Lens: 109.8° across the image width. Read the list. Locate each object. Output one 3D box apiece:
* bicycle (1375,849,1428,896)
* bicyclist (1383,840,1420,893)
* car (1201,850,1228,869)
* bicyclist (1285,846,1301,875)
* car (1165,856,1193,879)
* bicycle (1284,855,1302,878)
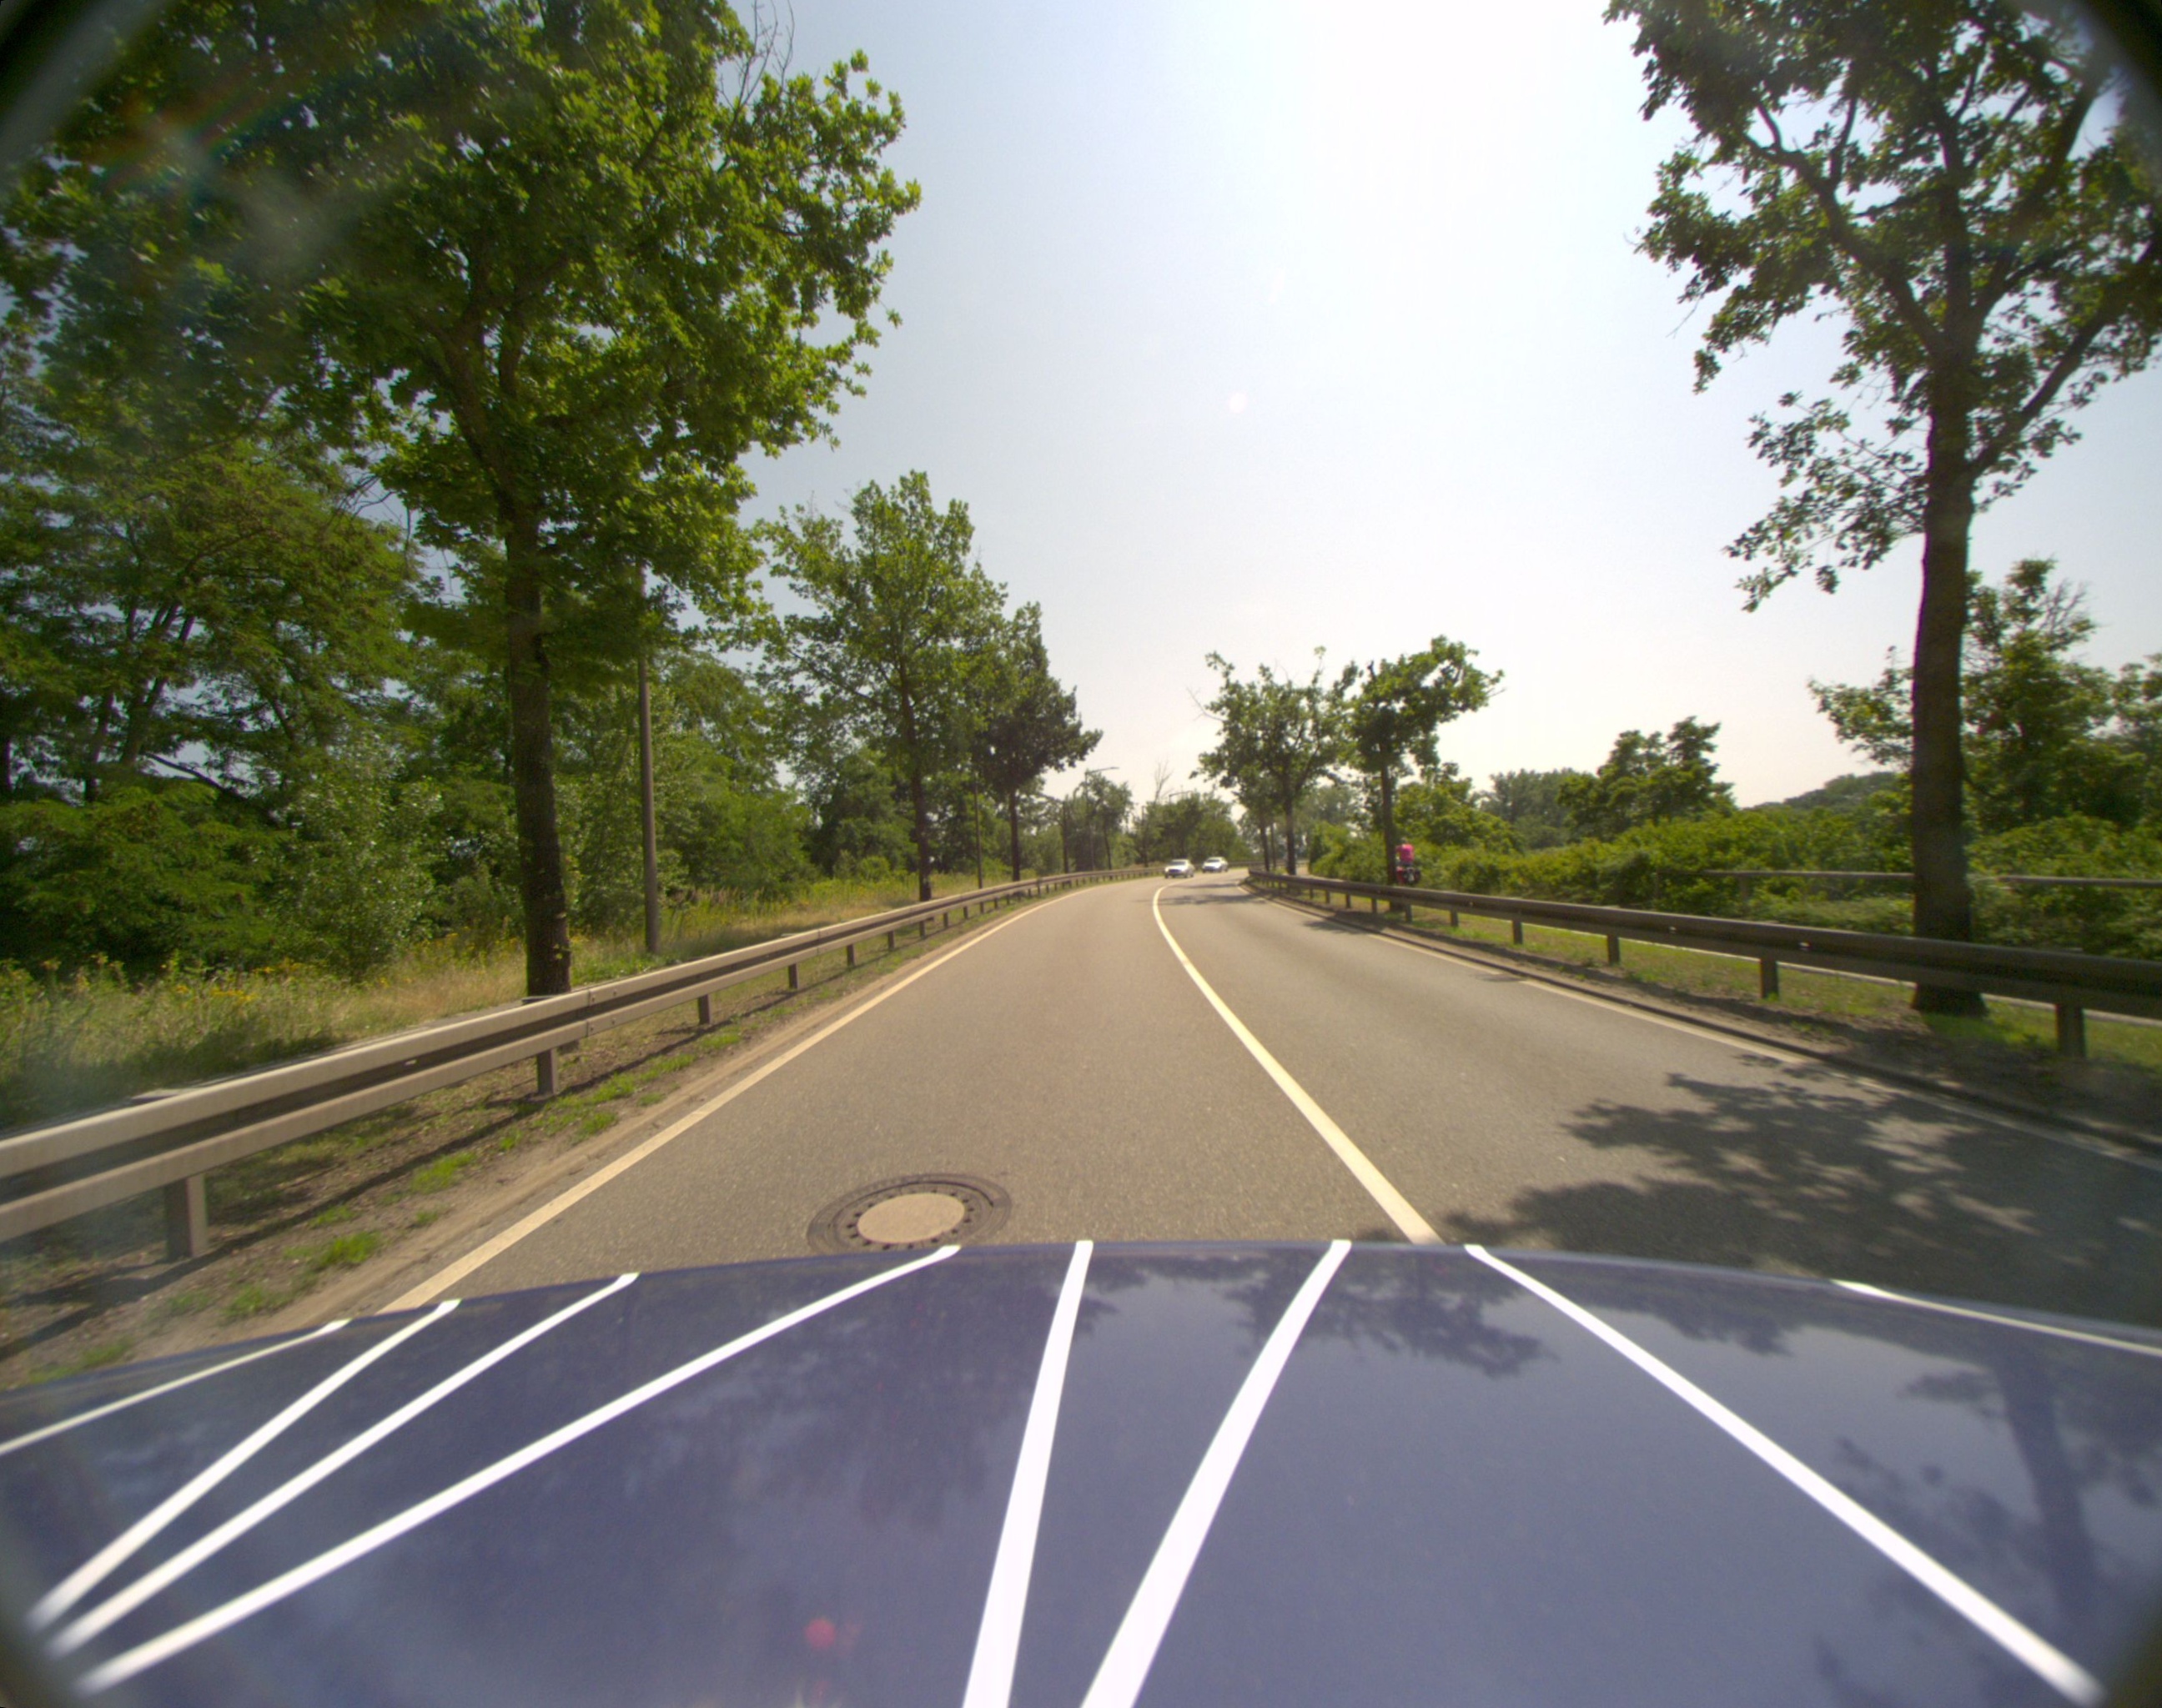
[{"bbox_3d":[9.273,0.510,22.080,0.736,1.274,2.046,-2,0,4],"label":"bicycle"},{"bbox_3d":[9.258,0.353,21.969,0.743,1.480,0.757,-2,1,3],"label":"bicyclist"},{"bbox_3d":[13.109,0.524,74.288,1.796,1.772,4.299,-2,0,20],"label":"car"},{"bbox_3d":[11.074,0.331,39.697,0.730,1.457,0.824,0,1,10],"label":"bicyclist"},{"bbox_3d":[7.595,1.025,58.583,1.762,1.490,4.236,-3,1,11],"label":"car"},{"bbox_3d":[11.077,0.637,39.735,0.735,1.110,2.047,0,1,10],"label":"bicycle"}]
